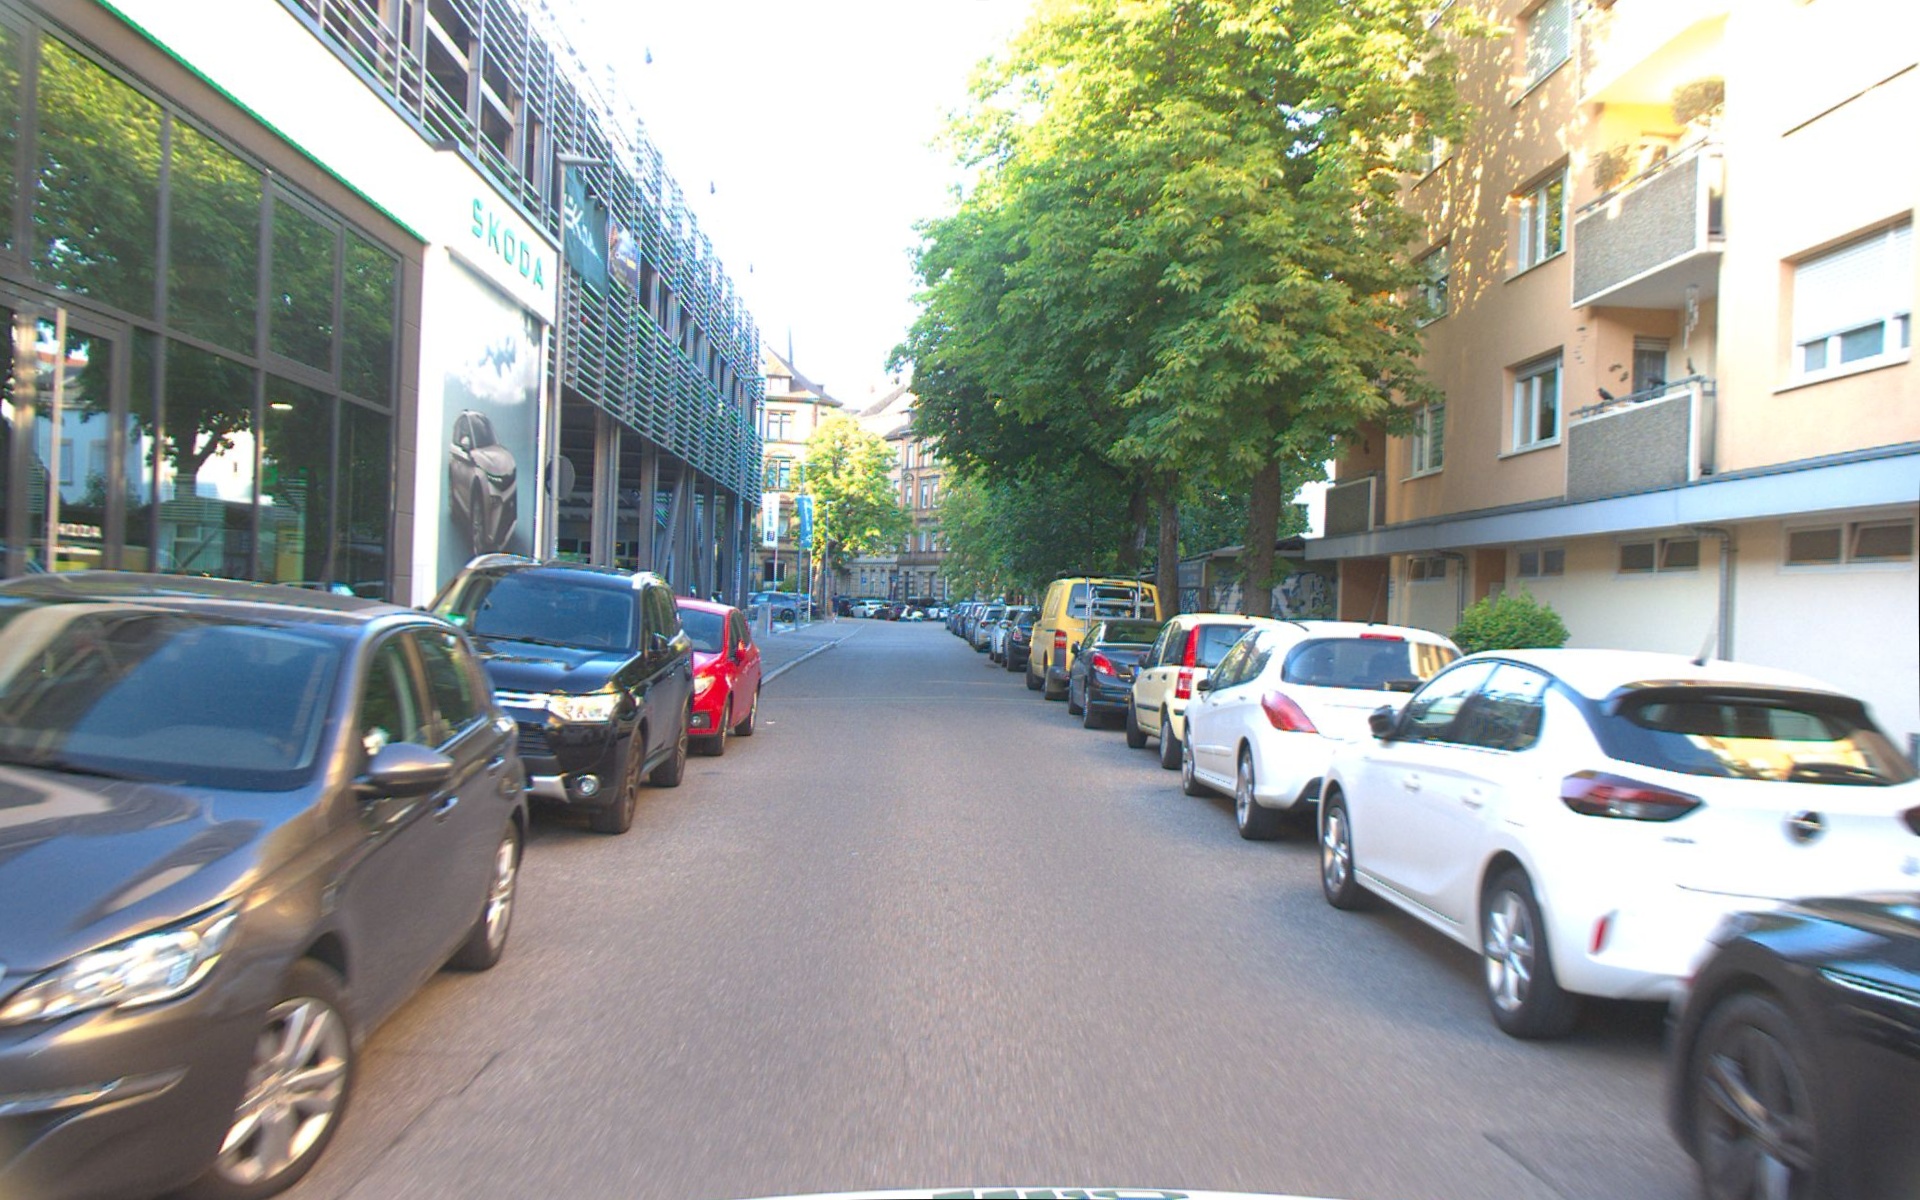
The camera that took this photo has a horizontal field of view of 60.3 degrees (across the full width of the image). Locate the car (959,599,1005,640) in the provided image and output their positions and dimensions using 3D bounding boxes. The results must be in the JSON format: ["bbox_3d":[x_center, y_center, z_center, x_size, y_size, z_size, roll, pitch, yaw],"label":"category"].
[{"bbox_3d":[0.913,0.821,69.695,1.724,1.632,3.872,2,0,-2],"label":"car"}]

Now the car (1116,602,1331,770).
[{"bbox_3d":[2.680,0.824,17.513,1.577,1.537,3.476,1,0,-2],"label":"car"}]

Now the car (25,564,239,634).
[{"bbox_3d":[-19.225,-0.029,38.527,3.992,1.480,1.860,2,1,-1],"label":"car"}]

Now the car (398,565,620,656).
[{"bbox_3d":[-9.310,0.205,34.360,4.065,1.713,1.860,2,1,-1],"label":"car"}]

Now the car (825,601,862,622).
[{"bbox_3d":[-9.225,0.937,130.862,1.634,1.456,3.864,2,1,-26],"label":"car"}]

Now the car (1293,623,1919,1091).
[{"bbox_3d":[2.820,0.908,7.643,1.577,1.487,4.052,1,0,-2],"label":"car"}]

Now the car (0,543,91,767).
[{"bbox_3d":[-8.035,0.400,11.593,1.663,1.687,4.408,1,0,-2],"label":"car"}]

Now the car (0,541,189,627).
[{"bbox_3d":[-14.021,-0.270,26.846,1.391,1.277,3.525,2,1,-2],"label":"car"}]

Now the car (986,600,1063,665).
[{"bbox_3d":[1.652,0.817,43.521,1.687,1.546,4.024,2,1,-2],"label":"car"}]

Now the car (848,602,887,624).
[{"bbox_3d":[-7.106,0.975,126.654,1.633,1.456,4.137,2,1,-24],"label":"car"}]

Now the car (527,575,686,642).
[{"bbox_3d":[-9.818,0.213,46.181,4.019,1.713,1.860,2,1,-1],"label":"car"}]

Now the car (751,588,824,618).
[{"bbox_3d":[-11.539,0.196,110.527,4.739,1.762,1.917,3,1,-8],"label":"car"}]

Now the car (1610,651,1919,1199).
[{"bbox_3d":[2.814,0.901,2.383,1.773,1.441,4.623,1,0,-2],"label":"car"}]

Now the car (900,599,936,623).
[{"bbox_3d":[-3.326,0.870,130.738,1.654,1.813,2.990,2,0,-26],"label":"car"}]

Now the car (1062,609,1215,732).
[{"bbox_3d":[2.339,0.889,22.513,1.574,1.406,4.000,2,1,-1],"label":"car"}]

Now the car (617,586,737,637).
[{"bbox_3d":[-9.902,0.421,58.091,3.908,1.614,1.858,2,-2,-4],"label":"car"}]

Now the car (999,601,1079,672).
[{"bbox_3d":[1.795,0.813,38.365,1.531,1.475,3.452,2,1,-2],"label":"car"}]

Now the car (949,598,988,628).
[{"bbox_3d":[0.448,0.663,86.325,1.662,1.502,3.555,2,0,-5],"label":"car"}]

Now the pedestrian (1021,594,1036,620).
[{"bbox_3d":[5.073,0.526,122.063,0.829,1.835,0.770,1,0,-22],"label":"pedestrian"}]

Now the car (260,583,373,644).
[{"bbox_3d":[-14.500,0.273,37.406,1.330,1.277,3.213,2,1,-2],"label":"car"}]

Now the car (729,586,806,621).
[{"bbox_3d":[-10.669,0.176,91.683,4.048,1.646,1.912,4,1,-4],"label":"car"}]

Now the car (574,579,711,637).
[{"bbox_3d":[-10.140,0.233,53.027,4.004,1.713,1.860,2,1,-1],"label":"car"}]

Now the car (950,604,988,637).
[{"bbox_3d":[0.434,0.982,81.324,1.661,1.502,4.115,2,0,-2],"label":"car"}]

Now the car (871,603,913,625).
[{"bbox_3d":[-5.033,1.027,122.097,1.634,1.456,3.958,2,1,-25],"label":"car"}]

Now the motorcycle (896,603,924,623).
[{"bbox_3d":[-3.571,0.911,118.893,1.898,1.364,0.575,2,0,-13],"label":"motorcycle"}]

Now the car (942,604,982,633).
[{"bbox_3d":[0.091,1.016,90.717,1.662,1.502,4.206,2,0,-7],"label":"car"}]

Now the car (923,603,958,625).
[{"bbox_3d":[-1.502,1.094,127.346,1.654,1.552,2.744,2,0,-26],"label":"car"}]

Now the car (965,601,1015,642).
[{"bbox_3d":[1.157,0.816,64.792,1.724,1.467,3.872,2,1,-2],"label":"car"}]

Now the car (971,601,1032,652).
[{"bbox_3d":[1.303,0.833,53.814,1.724,1.467,4.004,2,1,-2],"label":"car"}]

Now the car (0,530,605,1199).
[{"bbox_3d":[-2.520,0.634,5.142,1.897,1.624,4.205,2,1,0],"label":"car"}]

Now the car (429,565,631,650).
[{"bbox_3d":[-9.436,0.142,36.554,3.944,1.713,1.860,2,1,-1],"label":"car"}]

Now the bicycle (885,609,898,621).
[{"bbox_3d":[-4.831,1.037,116.730,0.416,0.836,1.462,2,1,20],"label":"bicycle"}]

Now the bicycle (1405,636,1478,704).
[{"bbox_3d":[7.532,1.081,25.950,0.513,0.937,1.834,2,1,-3],"label":"bicycle"}]

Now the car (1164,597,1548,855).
[{"bbox_3d":[2.788,0.803,12.635,1.756,1.590,4.192,1,0,-2],"label":"car"}]

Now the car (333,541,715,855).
[{"bbox_3d":[-2.852,0.557,11.795,1.663,1.787,4.401,1,0,-2],"label":"car"}]

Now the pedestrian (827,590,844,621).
[{"bbox_3d":[-7.626,0.336,101.185,0.725,1.835,1.114,1,1,-22],"label":"pedestrian"}]

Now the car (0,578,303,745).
[{"bbox_3d":[-8.335,0.554,17.090,1.663,1.499,3.780,1,0,-2],"label":"car"}]

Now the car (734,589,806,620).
[{"bbox_3d":[-10.891,0.260,94.887,3.987,1.646,1.764,2,1,-4],"label":"car"}]

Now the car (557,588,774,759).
[{"bbox_3d":[-2.916,0.667,17.080,1.663,1.532,3.789,1,0,-2],"label":"car"}]

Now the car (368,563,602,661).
[{"bbox_3d":[-9.107,0.211,31.957,3.953,1.713,1.860,2,1,-1],"label":"car"}]

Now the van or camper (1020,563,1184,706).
[{"bbox_3d":[2.270,0.496,27.894,2.023,2.132,5.087,2,1,-3],"label":"van or camper"}]

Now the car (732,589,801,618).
[{"bbox_3d":[-11.580,0.205,99.043,3.968,1.501,1.918,4,1,-6],"label":"car"}]
